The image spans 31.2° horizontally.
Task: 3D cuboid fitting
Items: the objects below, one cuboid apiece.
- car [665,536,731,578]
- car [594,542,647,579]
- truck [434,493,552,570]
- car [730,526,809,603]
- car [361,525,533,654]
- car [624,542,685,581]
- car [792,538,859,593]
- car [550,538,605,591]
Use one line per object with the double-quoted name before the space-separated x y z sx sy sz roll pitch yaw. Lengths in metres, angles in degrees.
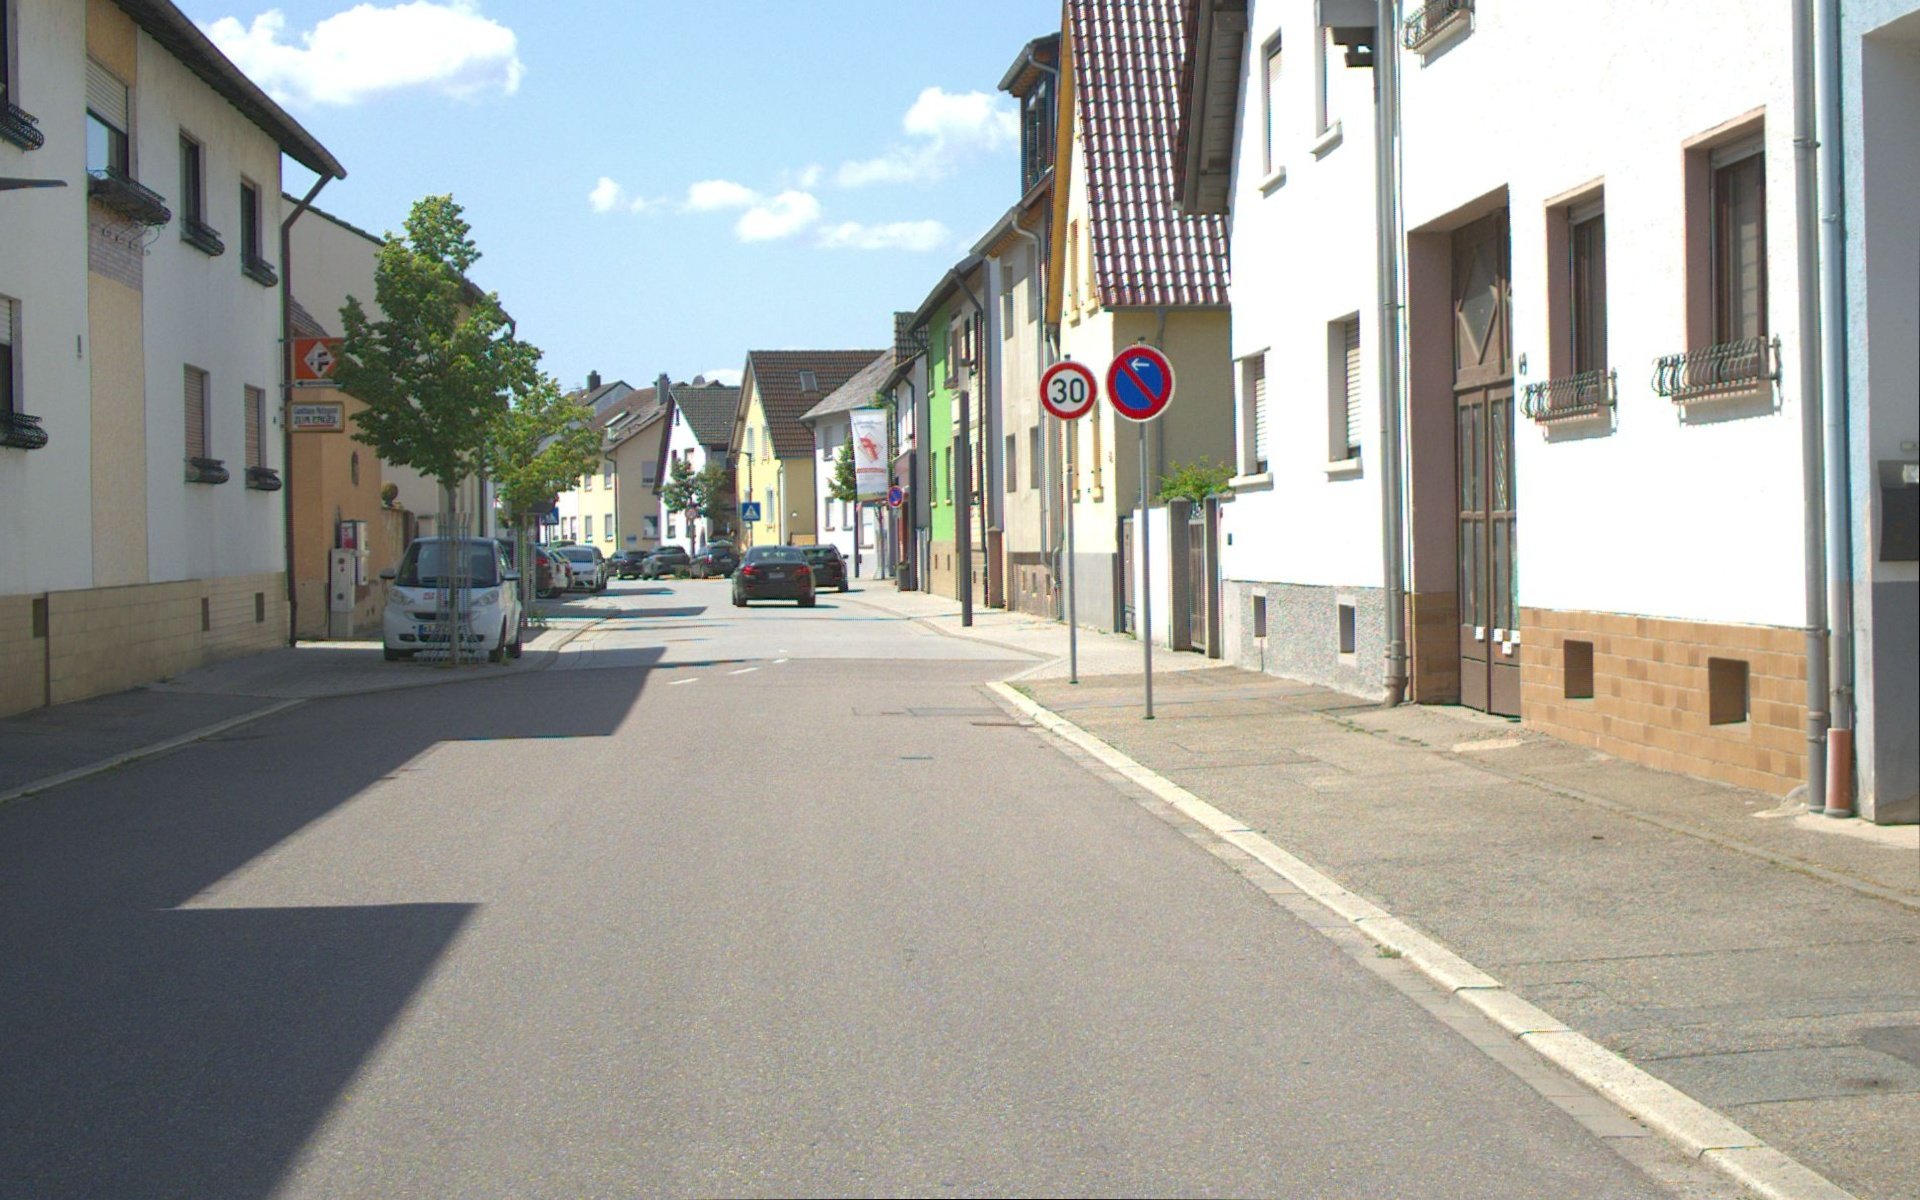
"car" -11.496 -1.879 150.574 1.782 1.747 4.230 -2 1 -20
"car" -16.596 -1.916 167.731 1.820 1.747 4.230 -2 1 -16
"truck" -24.953 -3.592 183.032 3.378 3.852 13.930 -2 1 -19
"car" -4.580 -0.849 82.297 1.782 1.747 4.001 -1 1 -4
"car" -6.479 -0.166 43.749 1.723 1.550 4.172 1 1 -3
"car" -14.234 -1.798 160.131 1.820 1.747 4.230 -2 1 -19
"car" -4.086 -1.047 104.057 1.782 1.558 4.338 -1 1 -5
"car" -12.548 -1.168 112.674 1.734 1.681 4.233 1 1 -7
